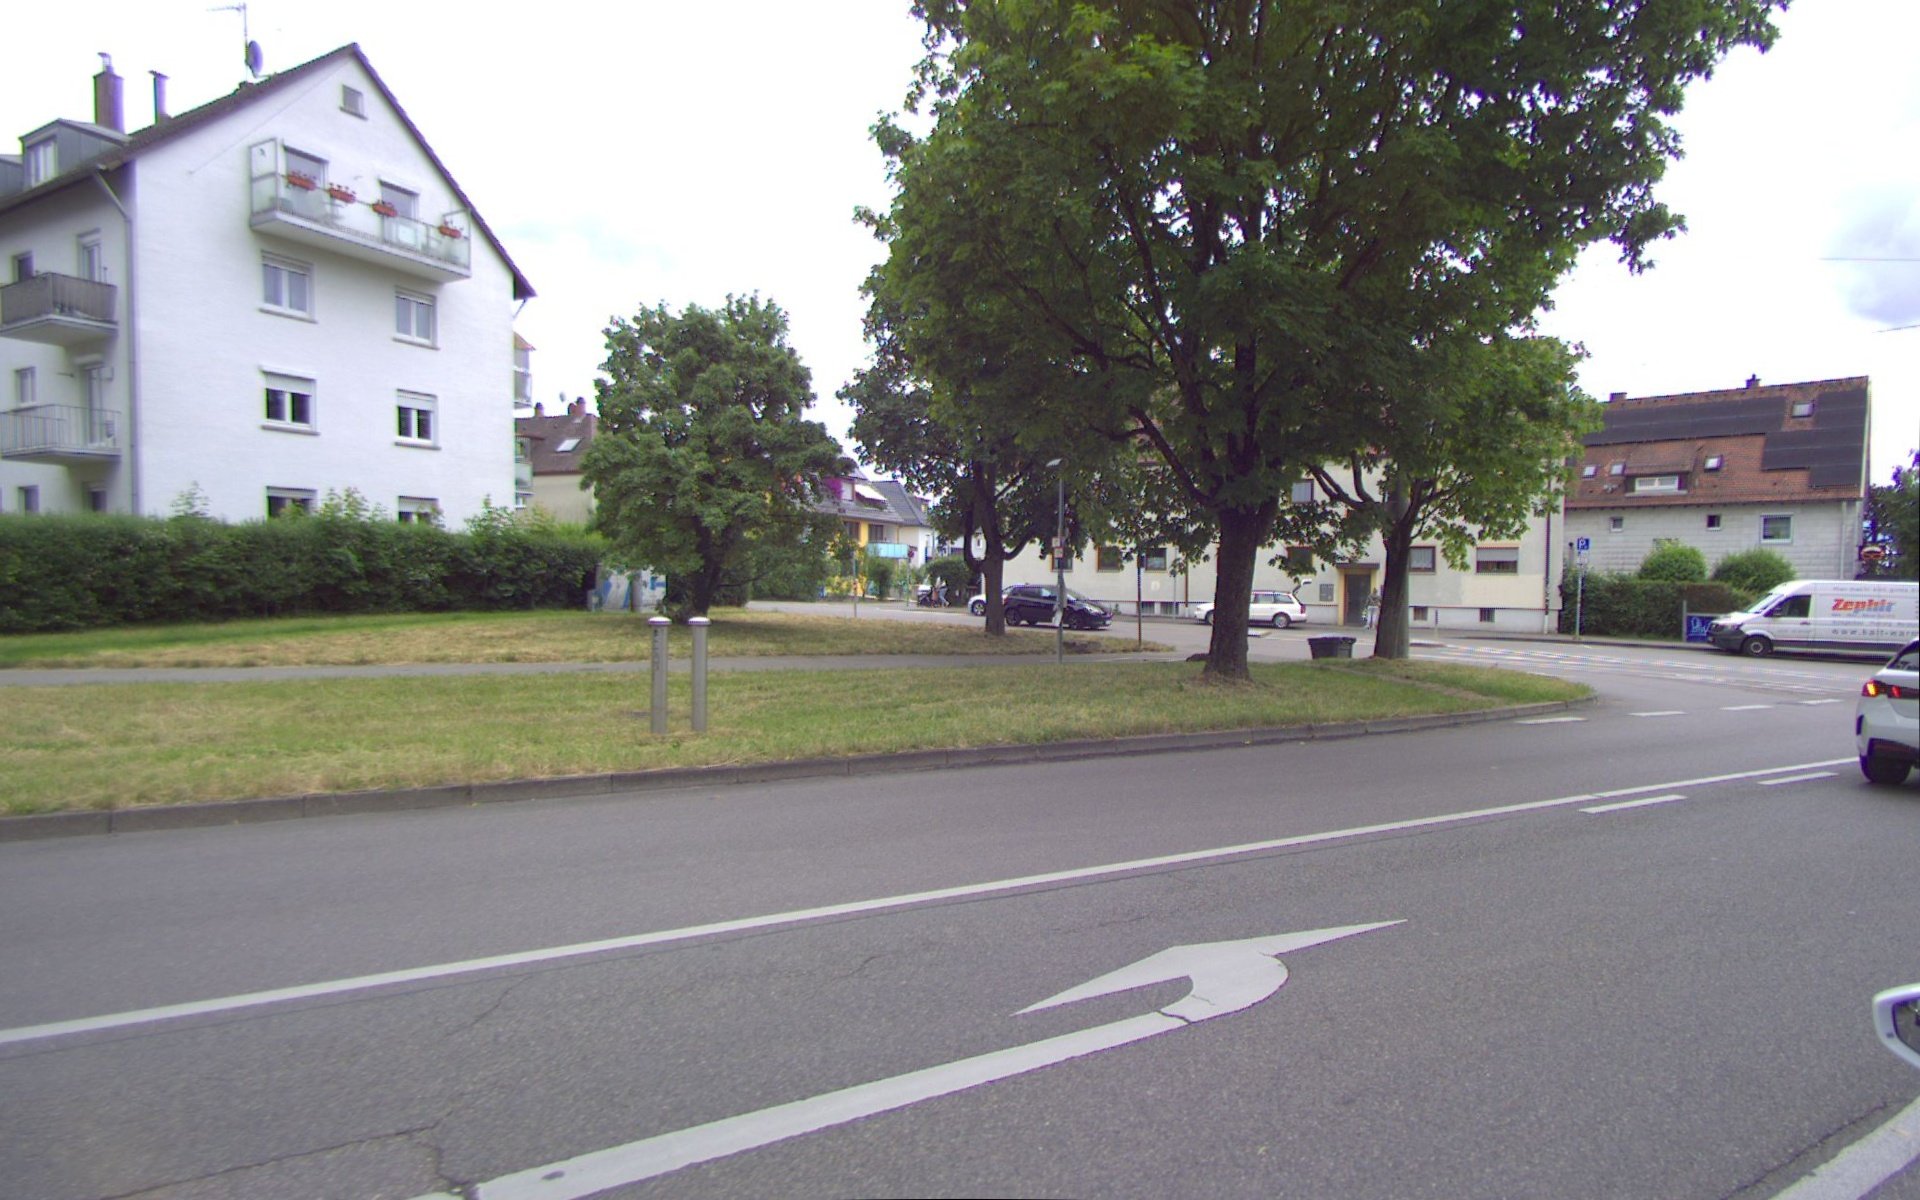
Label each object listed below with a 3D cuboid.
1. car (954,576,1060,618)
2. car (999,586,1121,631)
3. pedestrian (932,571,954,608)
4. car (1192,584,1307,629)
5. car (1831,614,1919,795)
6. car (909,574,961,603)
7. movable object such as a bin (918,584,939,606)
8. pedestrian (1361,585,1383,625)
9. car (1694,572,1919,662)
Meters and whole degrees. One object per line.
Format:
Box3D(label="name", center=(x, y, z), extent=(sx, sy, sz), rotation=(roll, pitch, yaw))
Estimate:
Box3D(label="car", center=(1.998, -0.135, 42.731), extent=(4.150, 1.554, 1.684), rotation=(3, 0, 19))
Box3D(label="car", center=(3.496, 0.260, 35.316), extent=(3.929, 1.355, 1.640), rotation=(2, 3, 31))
Box3D(label="pedestrian", center=(-0.806, -0.505, 47.462), extent=(0.767, 1.655, 0.681), rotation=(4, 4, 25))
Box3D(label="car", center=(11.596, 0.240, 40.242), extent=(4.232, 1.459, 1.721), rotation=(3, 4, 20))
Box3D(label="car", center=(10.087, 0.929, 9.356), extent=(4.158, 1.537, 1.787), rotation=(1, -1, -31))
Box3D(label="car", center=(-1.632, -0.769, 66.025), extent=(1.796, 1.682, 3.996), rotation=(4, 4, 25))
Box3D(label="movable object such as a bin", center=(-1.500, -0.241, 47.957), extent=(0.862, 1.010, 0.403), rotation=(4, 4, 25))
Box3D(label="pedestrian", center=(16.777, 0.202, 40.918), extent=(0.735, 1.555, 0.716), rotation=(3, 4, 20))
Box3D(label="car", center=(27.944, 0.497, 32.052), extent=(6.845, 2.556, 2.083), rotation=(3, 4, 22))
